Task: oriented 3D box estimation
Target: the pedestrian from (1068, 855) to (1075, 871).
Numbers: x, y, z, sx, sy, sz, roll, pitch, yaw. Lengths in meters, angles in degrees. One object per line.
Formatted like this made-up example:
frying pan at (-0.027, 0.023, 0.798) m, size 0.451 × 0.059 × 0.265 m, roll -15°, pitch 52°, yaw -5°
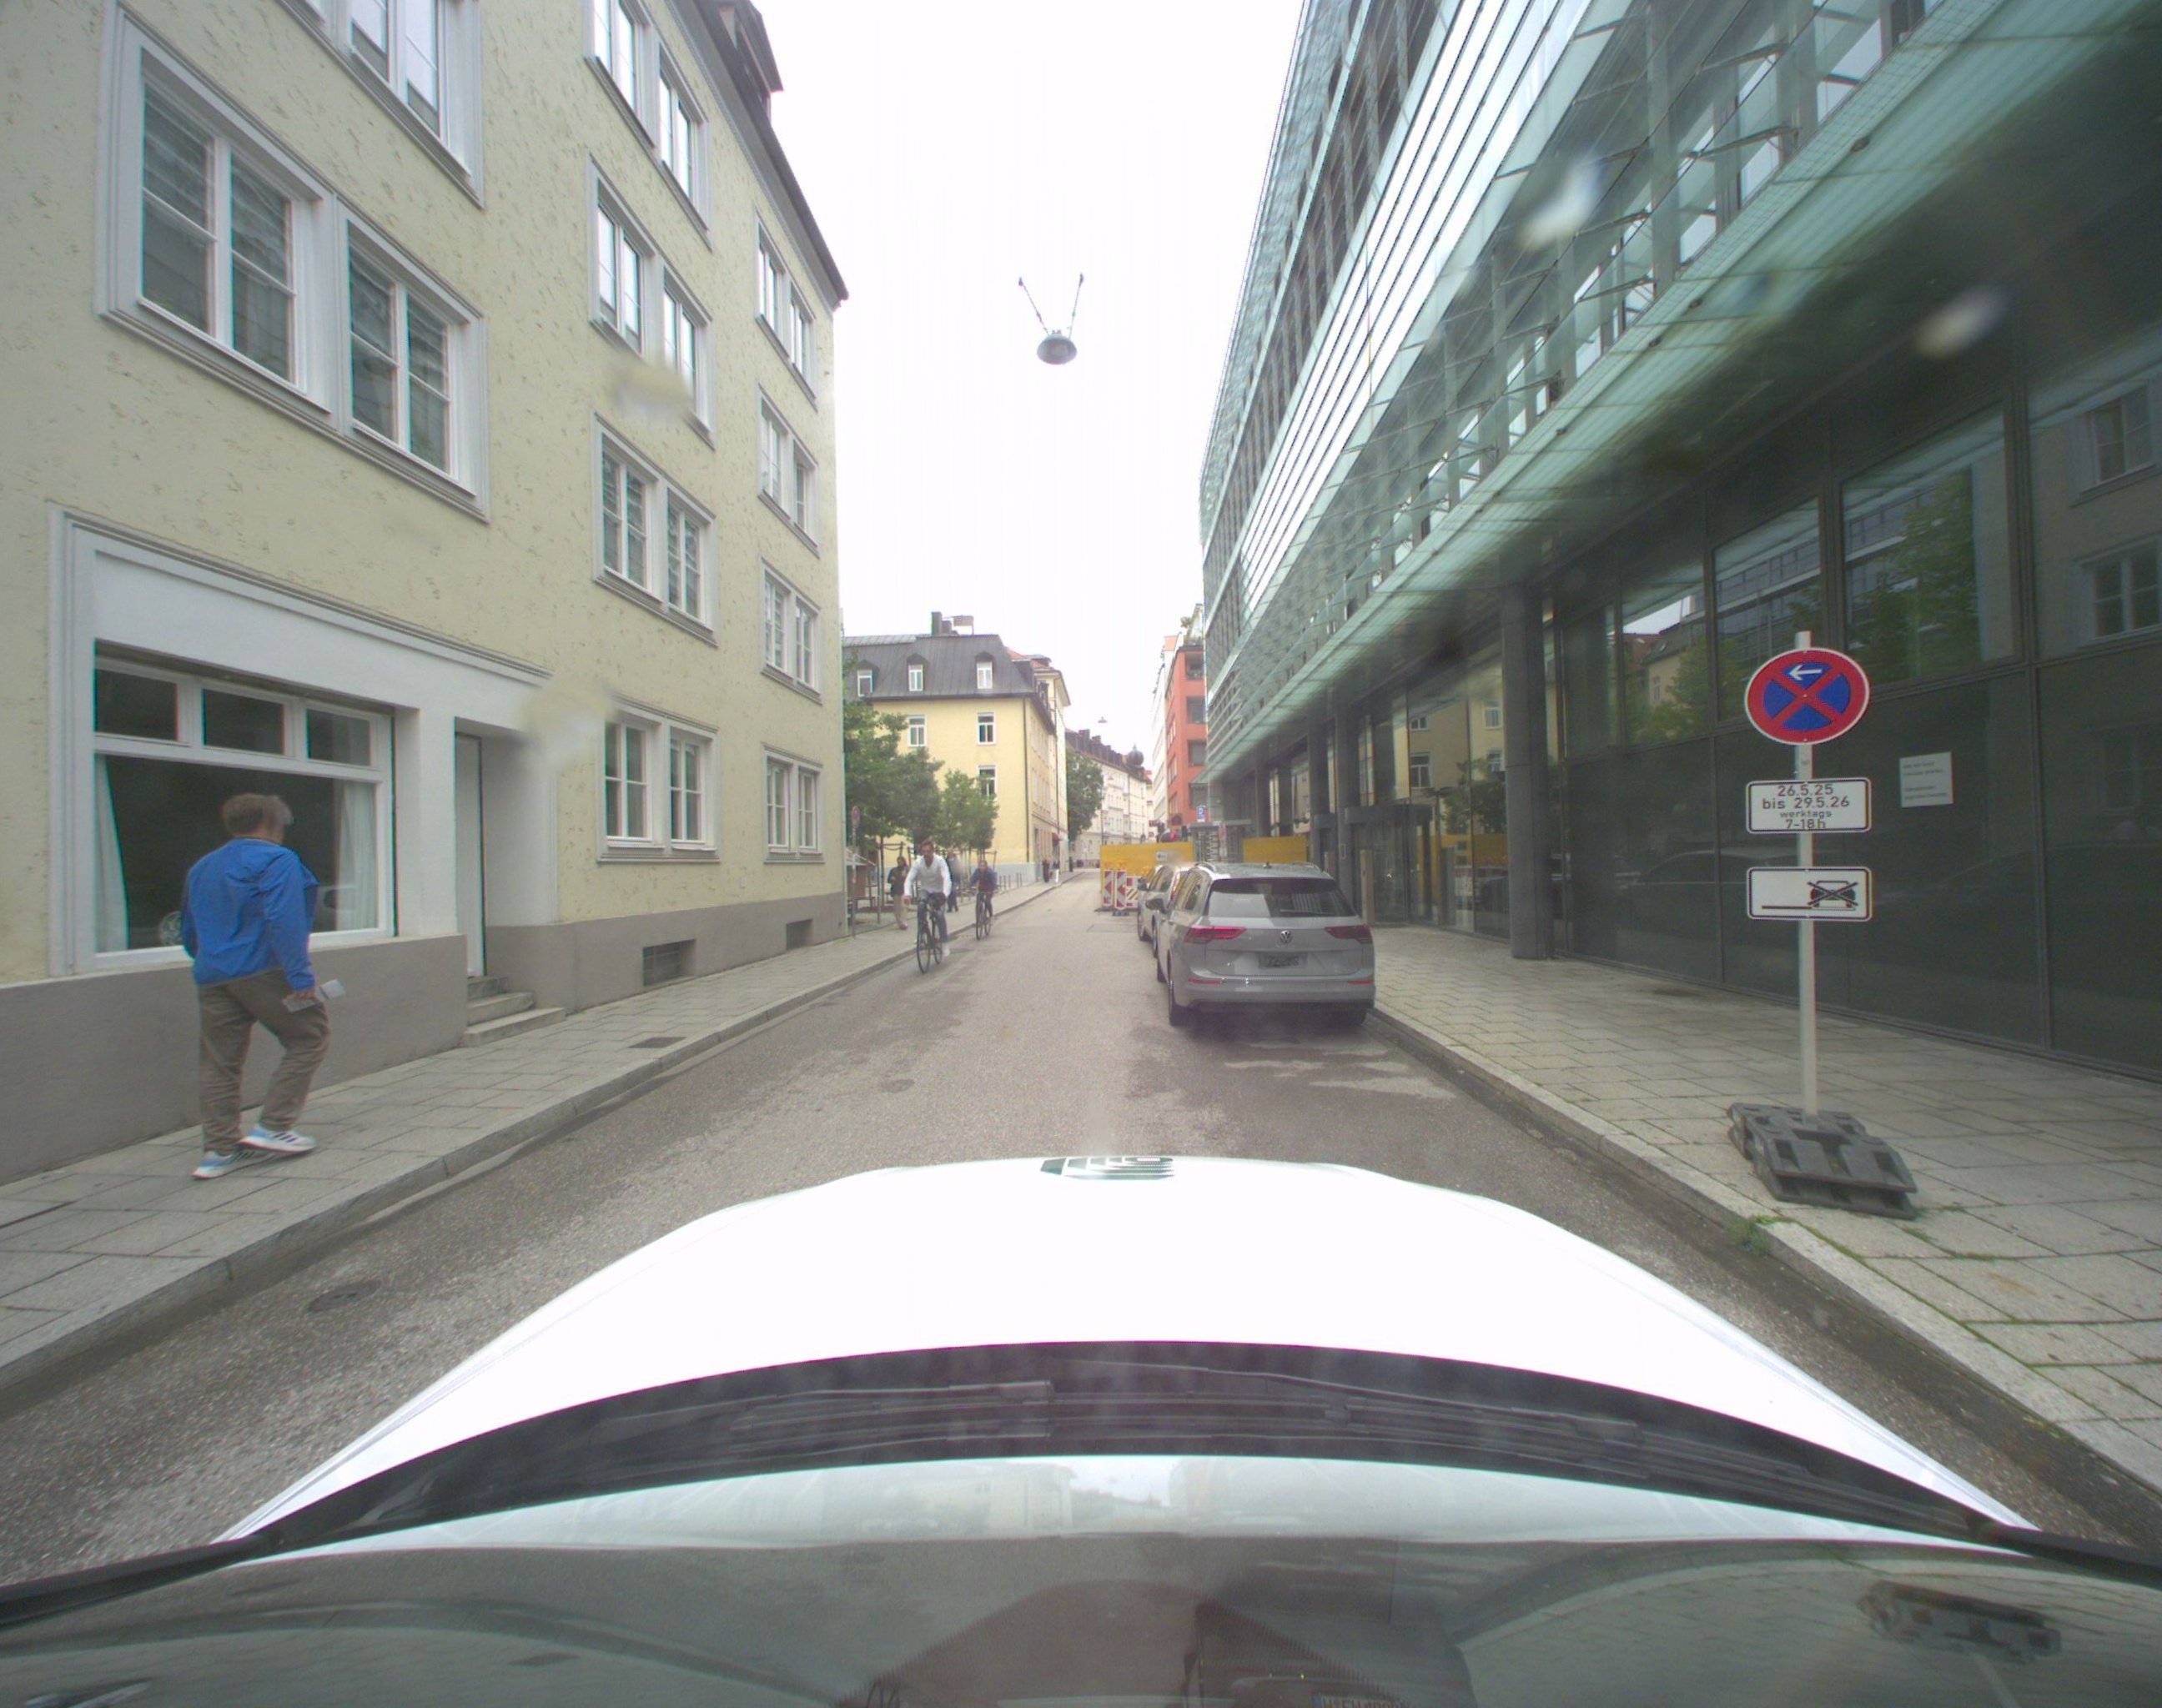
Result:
pedestrian at (-1.000, 0.939, 83.973) m, size 0.632 × 1.675 × 0.518 m, roll -1°, pitch -1°, yaw 2°

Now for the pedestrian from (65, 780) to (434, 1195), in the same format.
pedestrian at (-4.162, 0.601, 4.198) m, size 0.754 × 1.854 × 1.077 m, roll 0°, pitch -1°, yaw 2°

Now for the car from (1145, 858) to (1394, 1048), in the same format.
car at (1.633, 0.792, 8.508) m, size 1.701 × 1.432 × 4.331 m, roll -2°, pitch -1°, yaw 2°

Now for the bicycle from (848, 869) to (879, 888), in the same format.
bicycle at (-12.863, 1.436, 48.161) m, size 1.647 × 1.069 × 0.599 m, roll -1°, pitch -1°, yaw 6°

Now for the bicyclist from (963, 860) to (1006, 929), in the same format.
bicyclist at (-1.989, 0.821, 16.843) m, size 0.705 × 1.371 × 0.813 m, roll -2°, pitch -1°, yaw 2°

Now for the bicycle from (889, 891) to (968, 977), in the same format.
bicycle at (-2.169, 1.115, 11.834) m, size 0.659 × 1.039 × 2.005 m, roll -2°, pitch -1°, yaw 2°

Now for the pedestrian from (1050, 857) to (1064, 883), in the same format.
pedestrian at (-1.582, 1.034, 52.784) m, size 0.836 × 1.700 × 0.803 m, roll -1°, pitch -1°, yaw 2°

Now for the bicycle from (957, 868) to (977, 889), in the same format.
bicycle at (-6.507, 1.367, 46.436) m, size 0.507 × 1.144 × 2.058 m, roll -1°, pitch 0°, yaw 10°

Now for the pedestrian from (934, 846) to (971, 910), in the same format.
pedestrian at (-3.840, 0.714, 24.447) m, size 0.864 × 1.881 × 1.135 m, roll -1°, pitch -1°, yaw 1°

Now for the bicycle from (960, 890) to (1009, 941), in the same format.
bicycle at (-1.977, 1.247, 16.839) m, size 0.705 × 0.905 × 1.810 m, roll -2°, pitch -1°, yaw 2°

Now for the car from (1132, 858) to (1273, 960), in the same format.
car at (1.875, 0.810, 13.800) m, size 1.702 × 1.467 × 4.235 m, roll 0°, pitch -1°, yaw -1°

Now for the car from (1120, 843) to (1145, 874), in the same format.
car at (4.471, 0.391, 71.070) m, size 1.986 × 2.537 × 4.977 m, roll -1°, pitch 0°, yaw 2°

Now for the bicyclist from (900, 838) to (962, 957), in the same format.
bicyclist at (-2.175, 0.611, 11.894) m, size 0.657 × 1.643 × 0.895 m, roll -2°, pitch -1°, yaw 2°

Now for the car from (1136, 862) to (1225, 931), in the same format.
car at (2.189, 0.896, 18.955) m, size 1.701 × 1.414 × 4.511 m, roll 0°, pitch -1°, yaw 2°

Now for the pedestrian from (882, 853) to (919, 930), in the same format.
pedestrian at (-4.049, 0.822, 18.278) m, size 0.645 × 1.676 × 0.724 m, roll -1°, pitch -1°, yaw 1°

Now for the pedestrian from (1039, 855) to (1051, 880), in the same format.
pedestrian at (-2.348, 0.876, 52.934) m, size 0.668 × 1.648 × 0.762 m, roll -1°, pitch -1°, yaw 1°

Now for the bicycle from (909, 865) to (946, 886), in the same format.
bicycle at (-9.122, 1.280, 48.329) m, size 2.031 × 1.198 × 0.571 m, roll -1°, pitch -1°, yaw 9°
